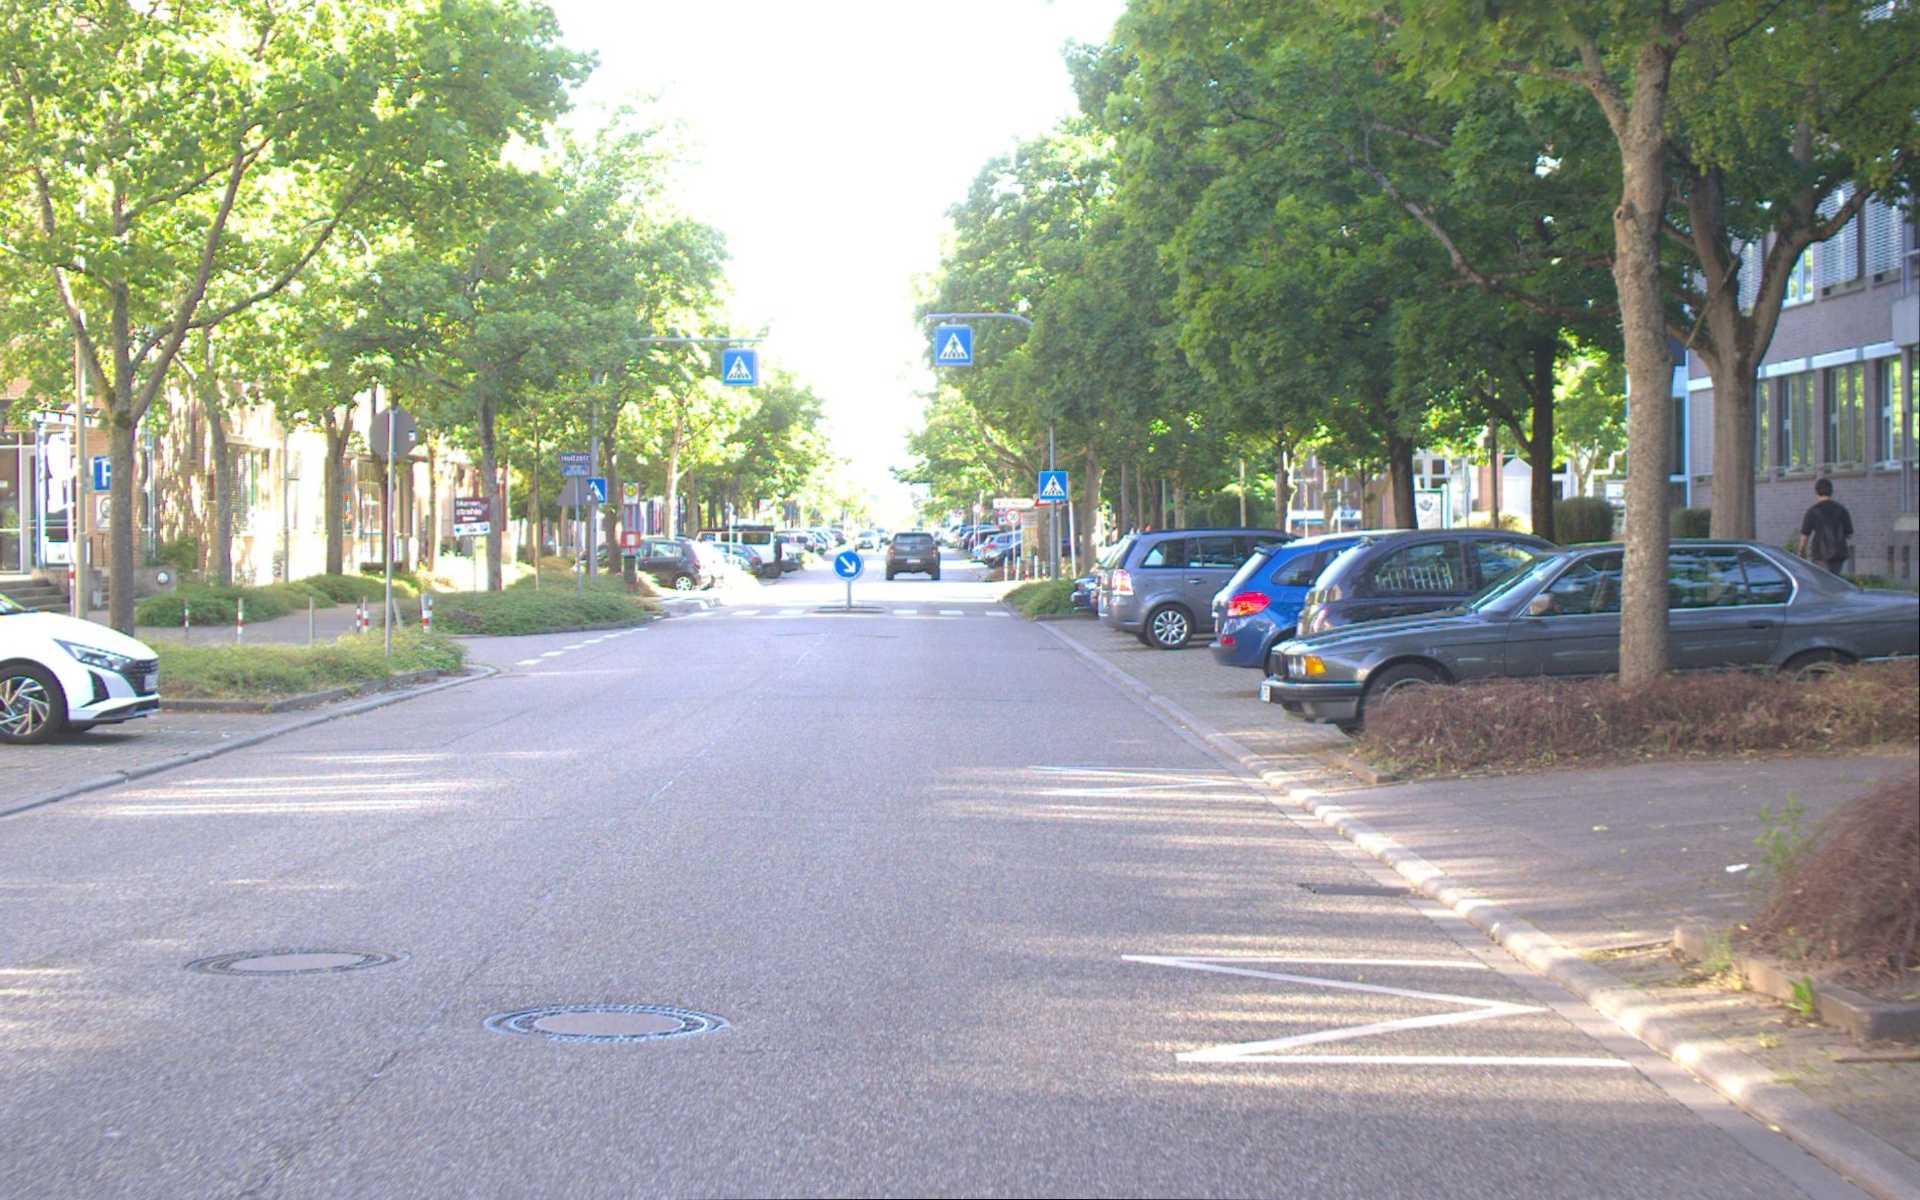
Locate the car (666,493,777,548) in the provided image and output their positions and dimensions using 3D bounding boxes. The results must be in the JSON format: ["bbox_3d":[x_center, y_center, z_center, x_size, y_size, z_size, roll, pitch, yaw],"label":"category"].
[{"bbox_3d":[-9.115,-3.050,131.822,3.987,2.007,2.000,-1,1,4],"label":"car"}]

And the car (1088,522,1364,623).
[{"bbox_3d":[4.275,-0.453,55.666,4.190,1.443,1.813,-2,1,-3],"label":"car"}]

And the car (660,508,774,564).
[{"bbox_3d":[-9.068,-2.384,128.470,3.987,2.007,2.000,-1,1,4],"label":"car"}]

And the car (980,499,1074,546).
[{"bbox_3d":[2.922,-3.403,150.761,3.986,2.007,2.000,-1,1,-2],"label":"car"}]

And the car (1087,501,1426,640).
[{"bbox_3d":[4.011,-0.419,46.977,4.350,1.698,1.813,-2,1,-3],"label":"car"}]

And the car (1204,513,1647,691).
[{"bbox_3d":[4.388,-0.001,32.833,3.949,1.509,1.813,-2,1,1],"label":"car"}]

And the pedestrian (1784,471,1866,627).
[{"bbox_3d":[9.835,-0.585,39.116,0.607,1.739,1.191,-1,1,-1],"label":"pedestrian"}]

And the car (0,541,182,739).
[{"bbox_3d":[-8.236,0.278,26.726,3.986,1.481,1.807,0,1,-1],"label":"car"}]

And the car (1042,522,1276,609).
[{"bbox_3d":[3.733,-0.662,64.962,4.190,1.468,1.813,-2,1,-3],"label":"car"}]

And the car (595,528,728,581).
[{"bbox_3d":[-8.800,-1.341,101.509,3.848,1.468,1.813,1,1,-4],"label":"car"}]

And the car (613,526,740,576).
[{"bbox_3d":[-8.763,-1.514,106.107,3.848,1.468,1.813,1,1,-6],"label":"car"}]

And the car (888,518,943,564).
[{"bbox_3d":[-1.660,-2.203,128.152,1.993,1.634,4.000,1,1,-1],"label":"car"}]

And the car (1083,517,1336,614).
[{"bbox_3d":[4.355,-0.613,60.483,4.190,1.530,1.813,-2,1,-3],"label":"car"}]

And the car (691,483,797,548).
[{"bbox_3d":[-8.603,-3.357,136.946,3.987,2.532,1.862,1,1,4],"label":"car"}]

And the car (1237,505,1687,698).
[{"bbox_3d":[4.365,-0.005,30.274,3.641,1.509,1.813,-2,1,0],"label":"car"}]

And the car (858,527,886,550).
[{"bbox_3d":[-6.087,-4.261,237.811,1.813,1.519,4.000,-1,1,0],"label":"car"}]

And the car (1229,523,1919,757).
[{"bbox_3d":[4.456,0.248,24.430,4.824,1.415,2.032,-2,1,-2],"label":"car"}]

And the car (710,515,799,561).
[{"bbox_3d":[-9.343,-2.818,156.339,3.986,2.007,2.000,-1,1,-2],"label":"car"}]
